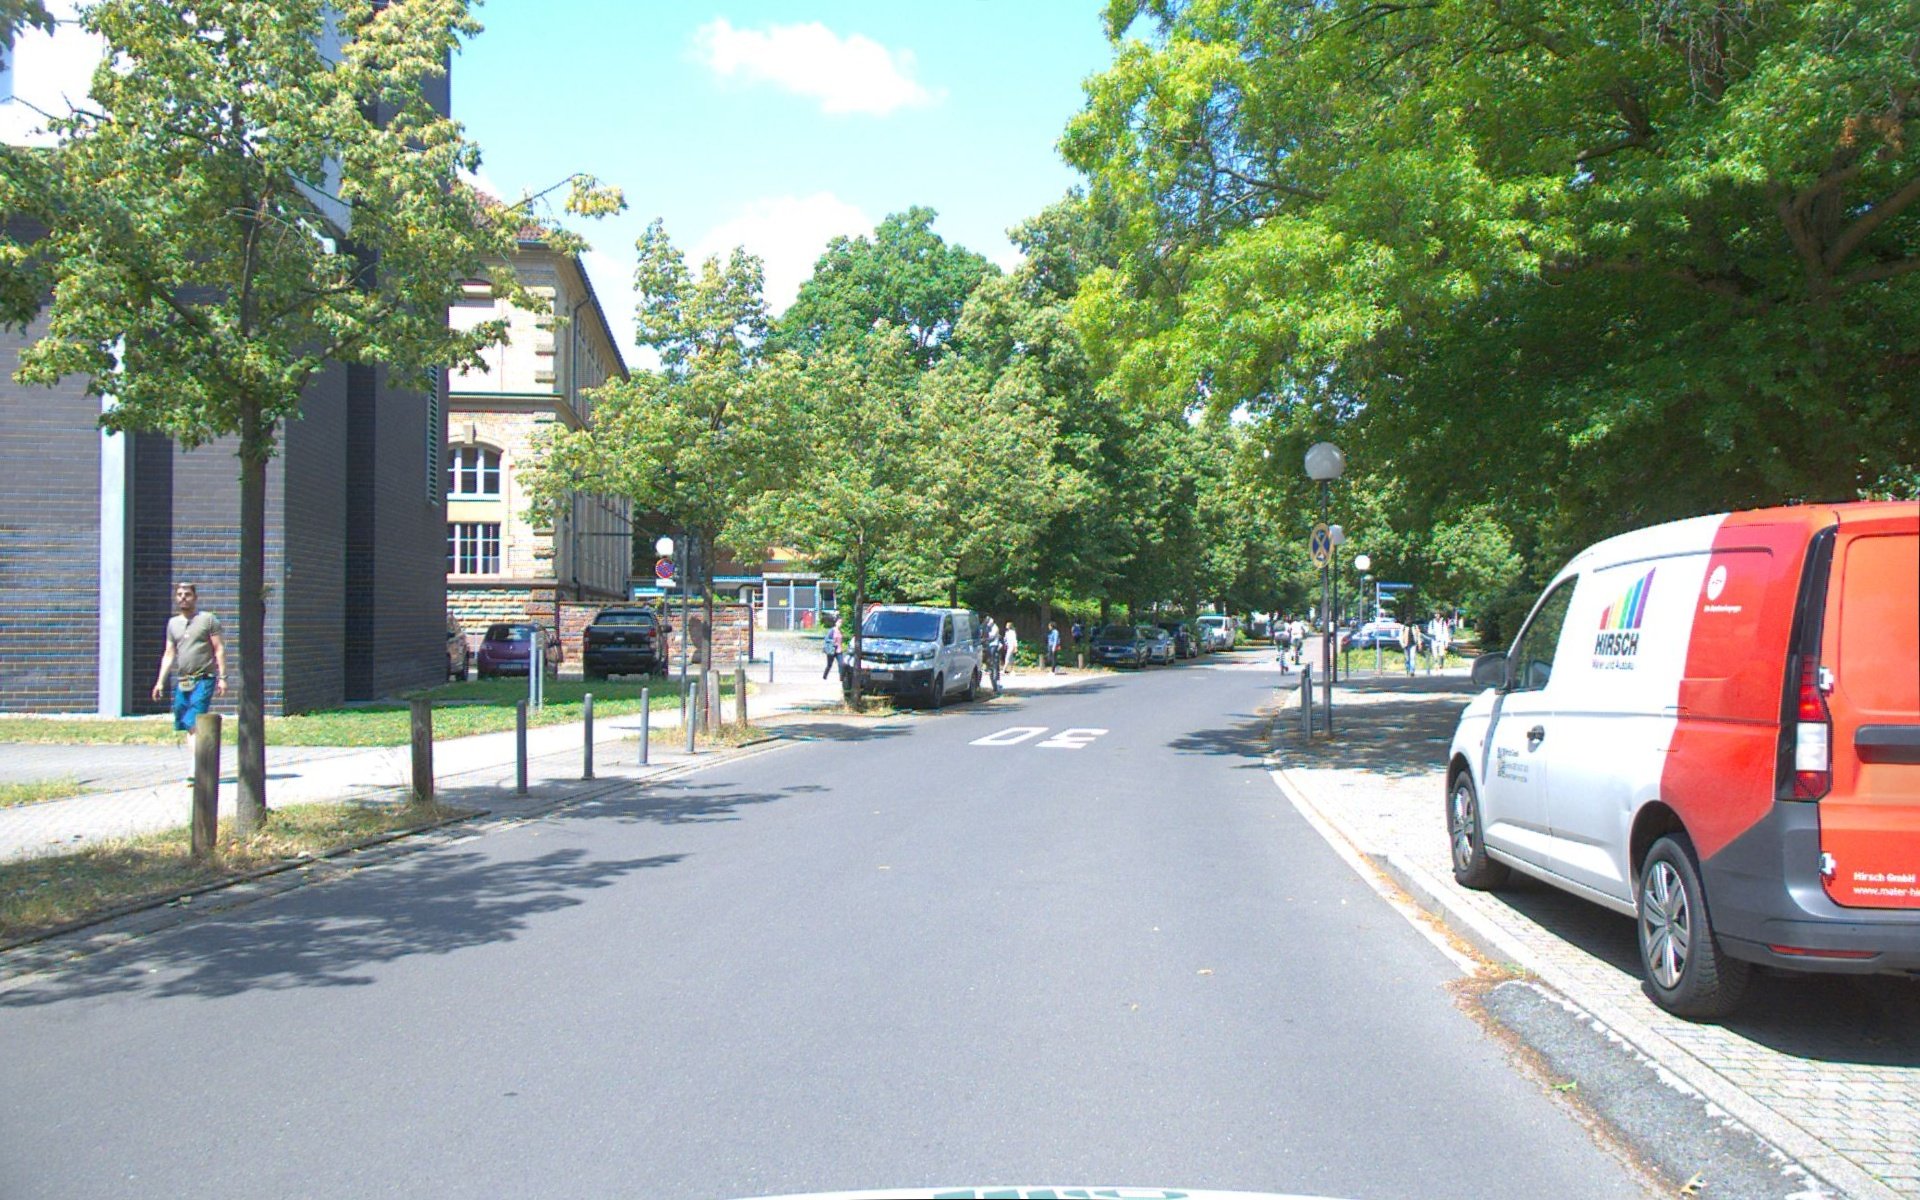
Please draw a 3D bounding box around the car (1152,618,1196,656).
[{"bbox_3d":[9.758,1.658,75.236,1.581,1.708,4.003,0,-1,13],"label":"car"}]

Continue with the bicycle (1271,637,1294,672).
[{"bbox_3d":[9.603,1.622,49.209,0.601,1.018,1.424,0,-1,13],"label":"bicycle"}]

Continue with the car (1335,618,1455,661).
[{"bbox_3d":[16.735,1.523,63.703,4.390,1.552,1.812,-1,-1,14],"label":"car"}]

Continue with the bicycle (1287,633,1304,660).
[{"bbox_3d":[13.346,1.858,65.827,0.601,1.018,1.424,-1,0,13],"label":"bicycle"}]

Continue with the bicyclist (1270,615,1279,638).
[{"bbox_3d":[20.828,1.769,109.614,0.551,1.525,0.828,0,-1,13],"label":"bicyclist"}]

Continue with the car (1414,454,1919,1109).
[{"bbox_3d":[3.498,0.546,7.294,1.810,1.924,4.891,-1,-1,2],"label":"car"}]

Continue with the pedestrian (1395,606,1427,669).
[{"bbox_3d":[12.888,1.065,47.271,0.804,1.786,0.840,0,-1,21],"label":"pedestrian"}]

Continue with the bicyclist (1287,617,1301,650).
[{"bbox_3d":[13.311,1.330,65.939,0.511,1.318,0.611,0,-1,13],"label":"bicyclist"}]

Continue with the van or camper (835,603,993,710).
[{"bbox_3d":[-0.813,1.075,33.509,1.912,1.957,5.424,1,-1,12],"label":"van or camper"}]

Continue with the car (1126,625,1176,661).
[{"bbox_3d":[7.728,1.703,66.780,1.581,1.412,4.003,0,-1,13],"label":"car"}]

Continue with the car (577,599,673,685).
[{"bbox_3d":[-8.181,1.001,40.791,2.135,1.959,5.174,0,-1,-10],"label":"car"}]

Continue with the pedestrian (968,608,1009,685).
[{"bbox_3d":[0.706,1.153,40.990,0.711,1.890,0.789,-1,-1,31],"label":"pedestrian"}]

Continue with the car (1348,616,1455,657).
[{"bbox_3d":[18.223,1.503,68.391,4.166,1.616,1.812,-1,-1,14],"label":"car"}]

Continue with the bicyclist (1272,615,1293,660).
[{"bbox_3d":[9.604,1.110,49.234,0.596,1.318,0.611,0,-1,13],"label":"bicyclist"}]

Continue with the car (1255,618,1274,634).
[{"bbox_3d":[27.103,2.324,147.178,1.581,1.389,4.566,0,-1,12],"label":"car"}]

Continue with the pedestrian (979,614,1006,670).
[{"bbox_3d":[0.991,1.282,50.588,0.620,1.692,0.597,1,-1,-30],"label":"pedestrian"}]

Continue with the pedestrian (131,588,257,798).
[{"bbox_3d":[-6.766,0.797,14.639,0.571,1.795,0.912,0,-1,12],"label":"pedestrian"}]

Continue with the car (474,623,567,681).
[{"bbox_3d":[-10.685,1.235,40.401,1.783,1.347,3.760,0,-1,-9],"label":"car"}]

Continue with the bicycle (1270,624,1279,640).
[{"bbox_3d":[20.847,2.125,109.682,0.565,1.018,1.424,0,-1,13],"label":"bicycle"}]

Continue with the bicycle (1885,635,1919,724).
[{"bbox_3d":[12.665,1.030,21.179,0.488,1.138,1.939,0,-1,-2],"label":"bicycle"}]

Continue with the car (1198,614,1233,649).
[{"bbox_3d":[13.907,1.708,89.998,1.581,1.847,4.003,0,-1,13],"label":"car"}]

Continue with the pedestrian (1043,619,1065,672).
[{"bbox_3d":[2.877,1.398,50.771,0.490,1.613,0.488,1,-1,-35],"label":"pedestrian"}]

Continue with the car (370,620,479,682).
[{"bbox_3d":[-12.881,1.197,39.998,1.783,1.347,4.154,2,-1,-9],"label":"car"}]

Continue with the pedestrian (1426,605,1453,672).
[{"bbox_3d":[13.655,1.087,47.058,0.658,1.905,0.792,0,-1,22],"label":"pedestrian"}]

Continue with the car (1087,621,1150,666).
[{"bbox_3d":[5.719,1.530,59.303,1.722,1.548,4.114,0,-1,13],"label":"car"}]

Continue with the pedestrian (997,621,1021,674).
[{"bbox_3d":[1.466,1.413,49.391,0.576,1.554,0.491,0,-1,-22],"label":"pedestrian"}]
